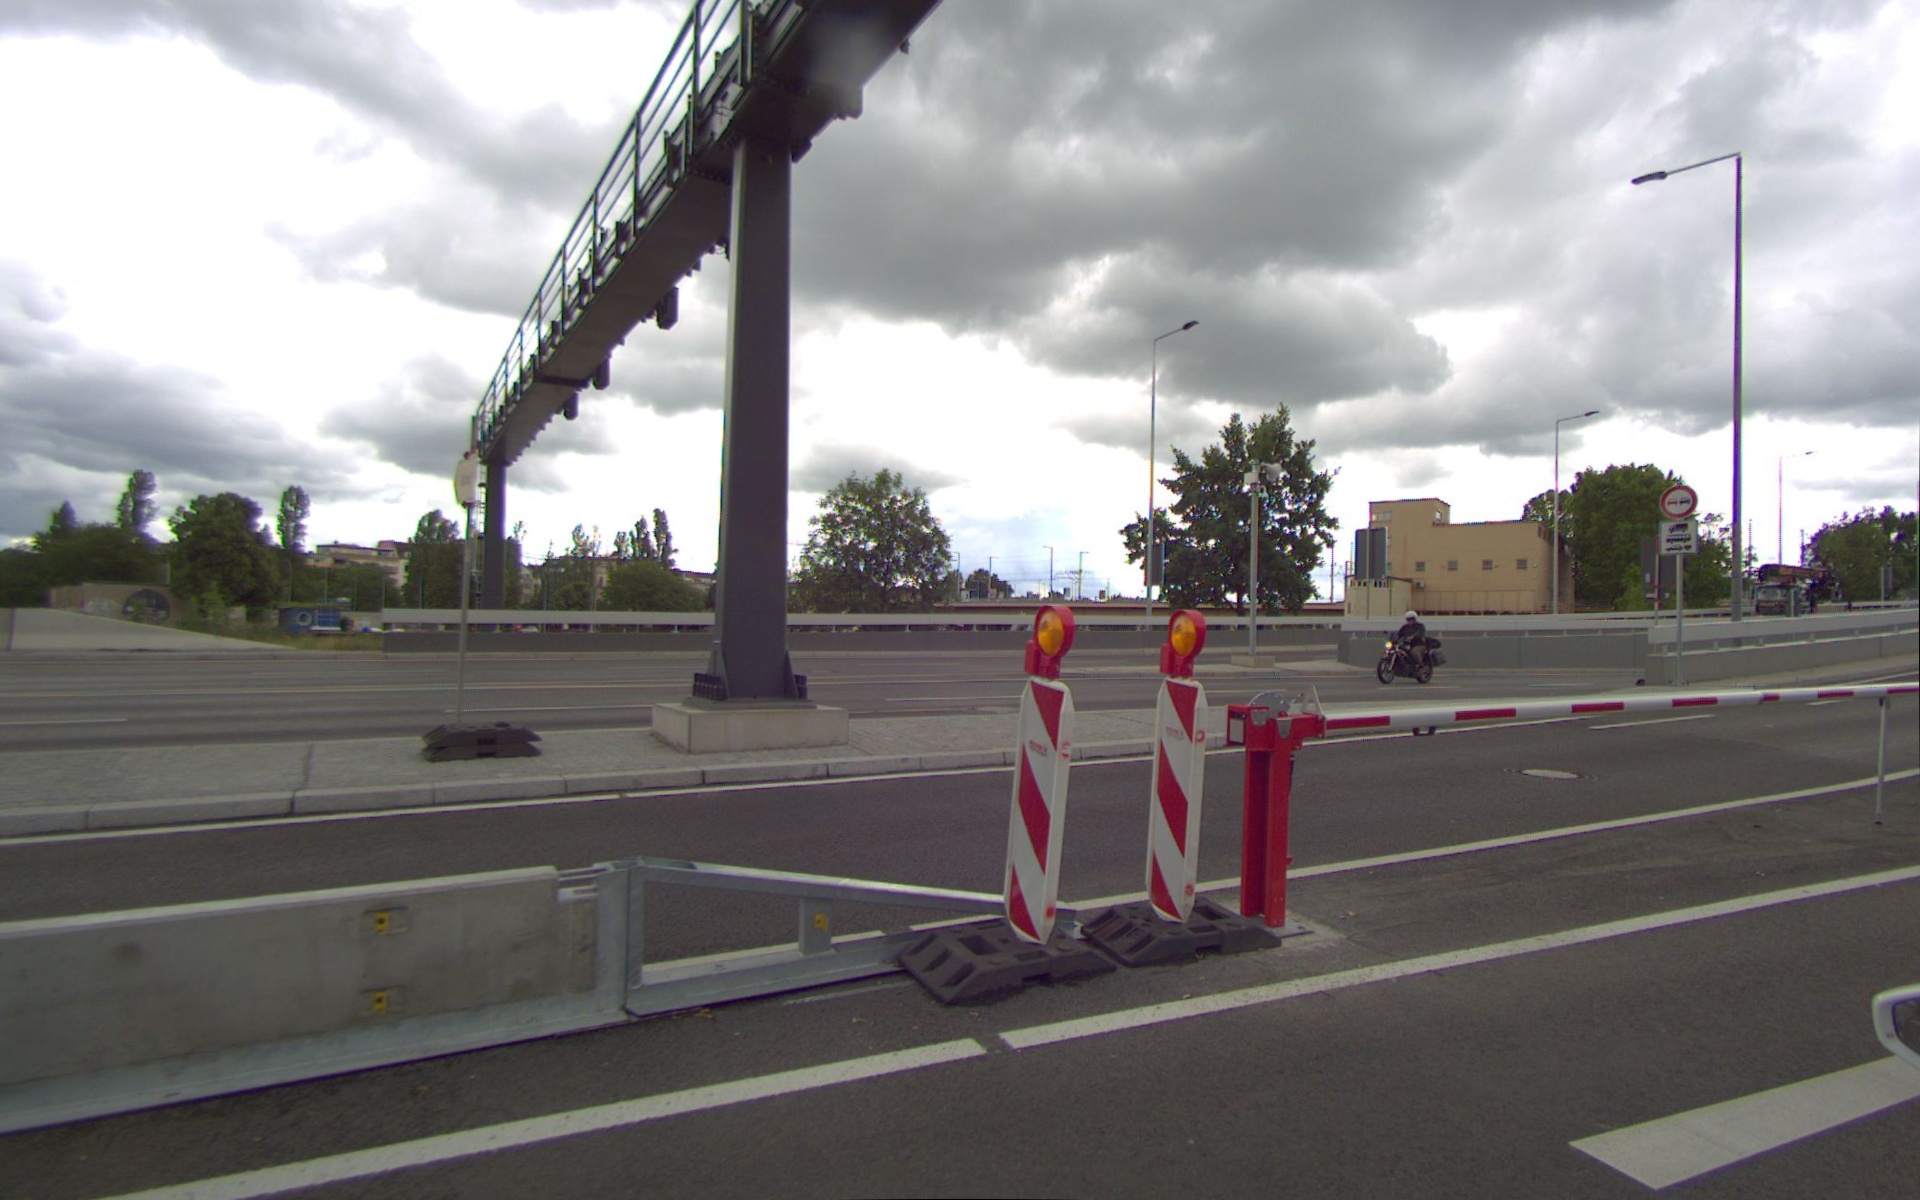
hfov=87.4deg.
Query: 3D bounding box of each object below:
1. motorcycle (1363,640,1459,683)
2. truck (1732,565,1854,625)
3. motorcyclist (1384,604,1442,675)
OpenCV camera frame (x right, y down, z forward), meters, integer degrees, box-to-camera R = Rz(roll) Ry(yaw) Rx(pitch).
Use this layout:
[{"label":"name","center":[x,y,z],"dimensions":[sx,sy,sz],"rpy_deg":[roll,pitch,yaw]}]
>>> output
[{"label":"motorcycle","center":[10.704,1.463,23.813],"dimensions":[2.362,0.929,0.663],"rpy_deg":[3,0,-25]},{"label":"truck","center":[51.359,-0.396,61.786],"dimensions":[10.503,3.436,2.716],"rpy_deg":[-1,3,-33]},{"label":"motorcyclist","center":[10.733,0.936,23.824],"dimensions":[1.088,1.627,0.663],"rpy_deg":[2,0,-25]}]
